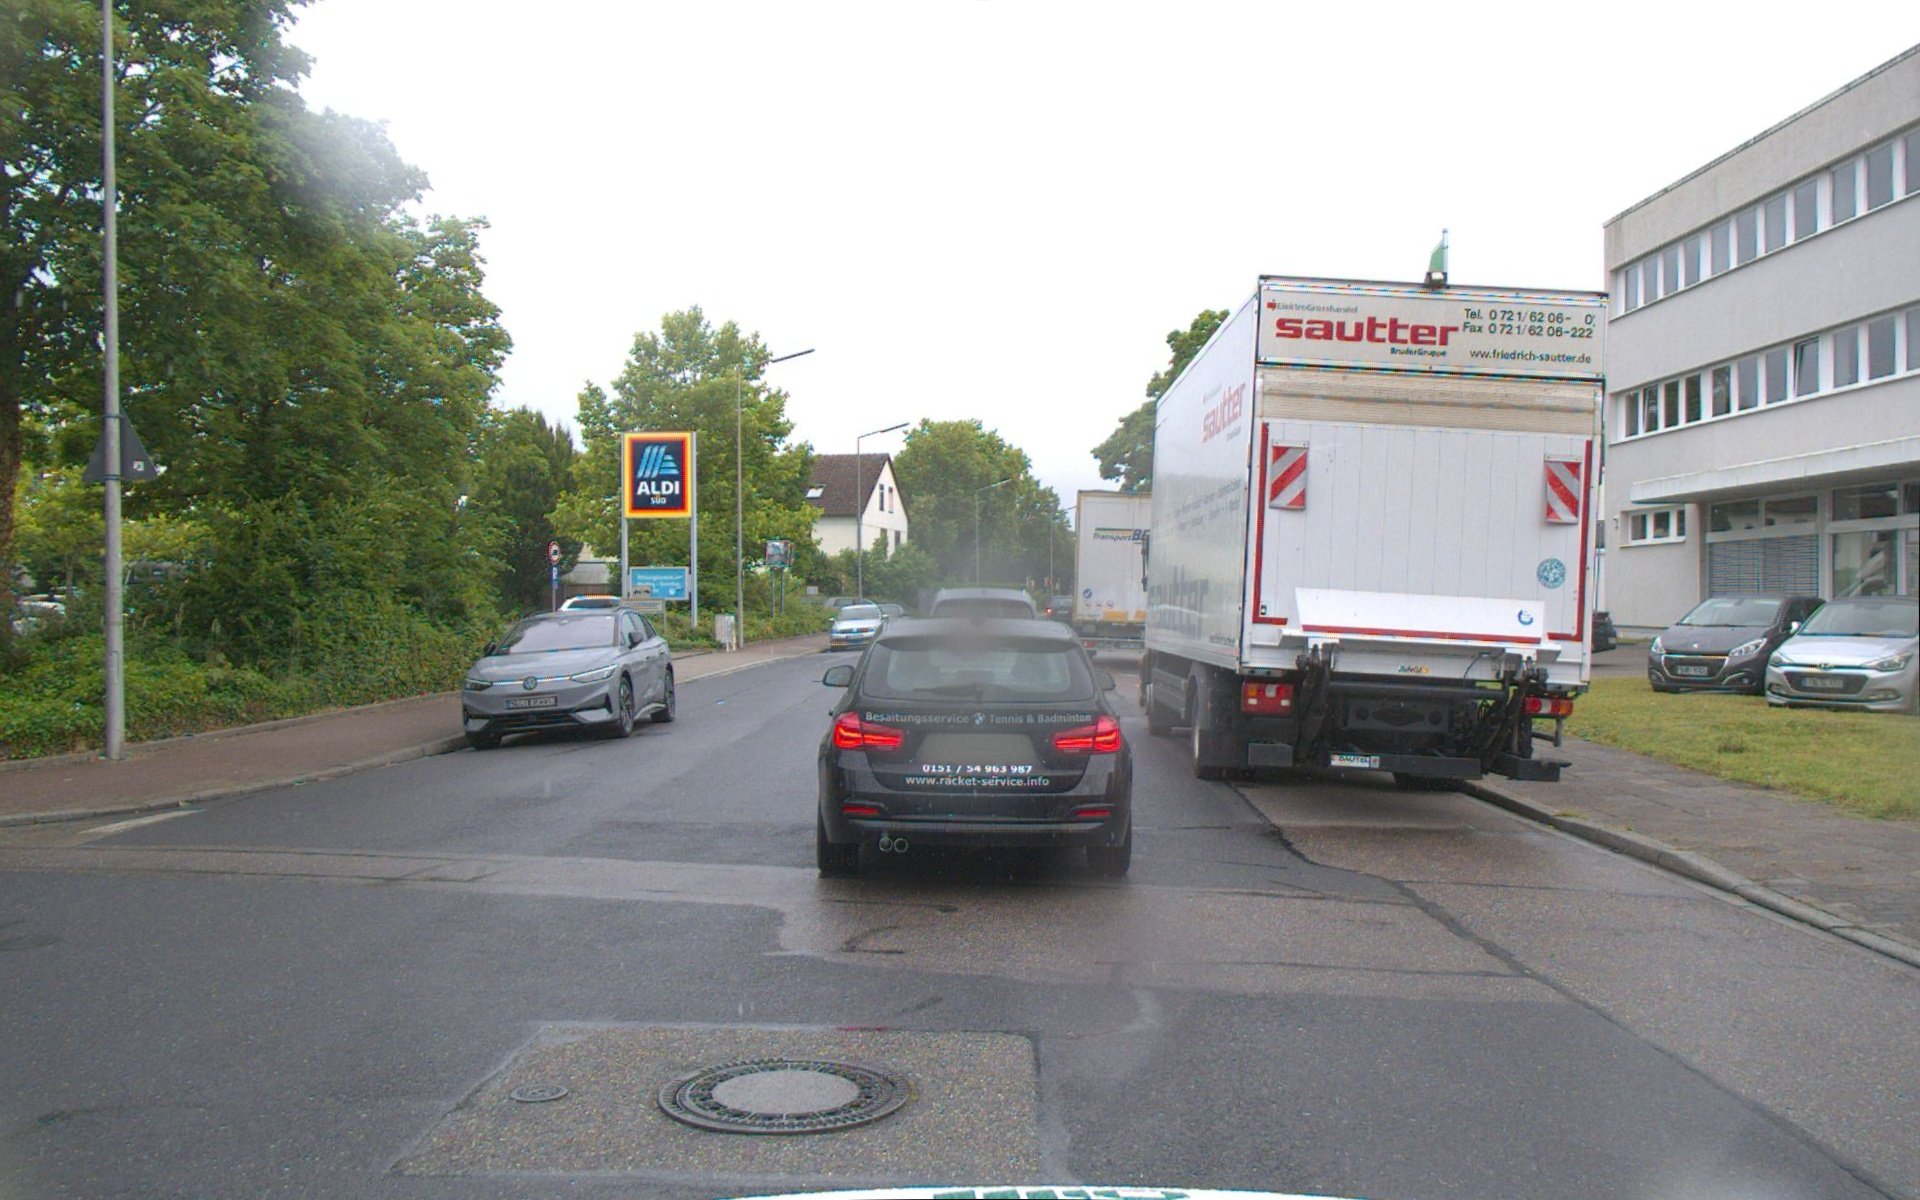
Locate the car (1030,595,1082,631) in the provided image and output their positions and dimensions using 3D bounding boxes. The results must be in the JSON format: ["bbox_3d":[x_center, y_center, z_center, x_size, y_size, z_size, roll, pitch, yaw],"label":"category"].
[{"bbox_3d":[4.518,0.591,77.183,1.766,1.614,4.003,0,0,13],"label":"car"}]

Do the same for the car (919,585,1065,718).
[{"bbox_3d":[0.345,0.639,22.134,1.768,1.614,3.999,1,0,-2],"label":"car"}]

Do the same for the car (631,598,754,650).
[{"bbox_3d":[-8.322,0.741,51.619,3.495,1.485,1.713,2,0,2],"label":"car"}]

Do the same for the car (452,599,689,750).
[{"bbox_3d":[-4.711,0.834,20.714,1.772,1.555,4.747,-4,0,0],"label":"car"}]

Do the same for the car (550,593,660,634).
[{"bbox_3d":[-14.039,0.518,65.485,3.904,1.567,1.911,0,0,1],"label":"car"}]

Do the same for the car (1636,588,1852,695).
[{"bbox_3d":[11.453,0.549,24.059,3.740,1.417,1.679,0,0,-45],"label":"car"}]

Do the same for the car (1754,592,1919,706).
[{"bbox_3d":[11.706,0.553,21.044,3.970,1.309,1.678,-1,0,-45],"label":"car"}]

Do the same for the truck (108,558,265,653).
[{"bbox_3d":[-24.132,0.161,51.960,1.953,2.801,6.466,0,0,-1],"label":"truck"}]

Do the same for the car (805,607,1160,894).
[{"bbox_3d":[0.068,0.766,10.271,1.768,1.419,3.999,1,0,-2],"label":"car"}]

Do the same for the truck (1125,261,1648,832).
[{"bbox_3d":[3.424,-0.379,16.127,2.685,3.855,9.299,2,0,1],"label":"truck"}]

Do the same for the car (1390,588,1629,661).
[{"bbox_3d":[11.821,0.508,35.744,4.586,1.493,1.783,0,0,39],"label":"car"}]

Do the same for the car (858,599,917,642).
[{"bbox_3d":[-2.591,0.725,59.921,1.670,1.391,3.840,-3,0,4],"label":"car"}]

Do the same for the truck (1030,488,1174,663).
[{"bbox_3d":[3.224,-0.535,39.596,2.685,3.674,7.750,2,0,0],"label":"truck"}]

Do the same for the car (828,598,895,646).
[{"bbox_3d":[-3.155,0.686,53.867,1.670,1.391,4.603,-3,0,2],"label":"car"}]
